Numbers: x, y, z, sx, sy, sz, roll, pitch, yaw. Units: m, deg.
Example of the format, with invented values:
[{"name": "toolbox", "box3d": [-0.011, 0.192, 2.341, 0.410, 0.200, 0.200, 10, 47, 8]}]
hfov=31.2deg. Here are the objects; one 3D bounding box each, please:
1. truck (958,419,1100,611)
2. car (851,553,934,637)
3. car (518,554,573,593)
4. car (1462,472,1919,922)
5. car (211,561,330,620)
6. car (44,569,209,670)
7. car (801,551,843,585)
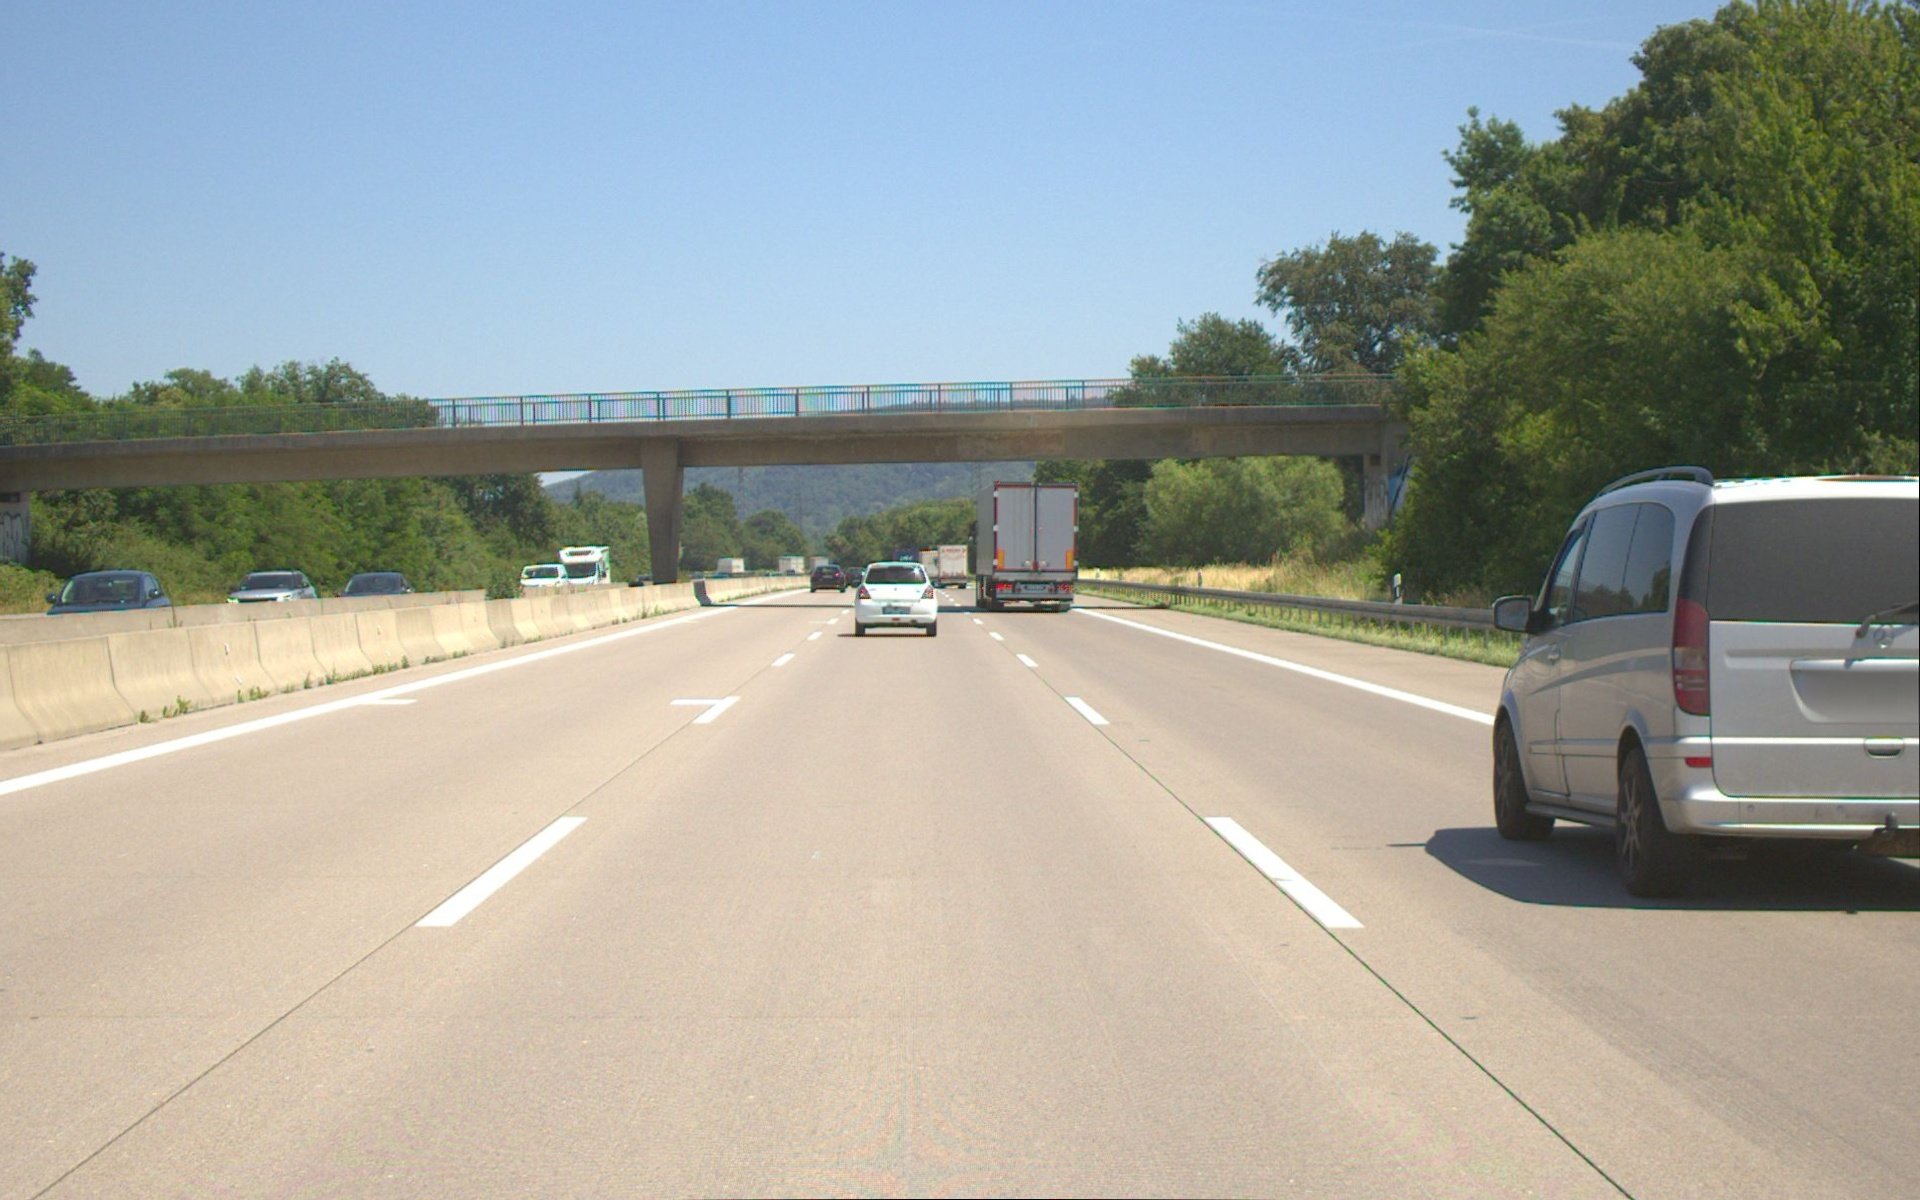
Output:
[{"name": "truck", "box3d": [2.072, -2.688, 112.749, 3.577, 5.767, 18.249, 0, 1, -2]}, {"name": "car", "box3d": [-1.384, -0.120, 70.749, 1.641, 1.656, 3.360, 1, 1, -1]}, {"name": "car", "box3d": [-18.293, -1.185, 152.088, 1.826, 1.712, 5.793, 0, 1, -1]}, {"name": "car", "box3d": [3.848, 0.365, 17.044, 1.879, 1.882, 5.280, 0, 1, -1]}, {"name": "car", "box3d": [-18.550, -0.293, 92.714, 2.065, 1.491, 6.136, -1, 1, -1]}, {"name": "car", "box3d": [-13.718, 0.286, 56.805, 1.688, 1.539, 4.338, -1, 1, 0]}, {"name": "car", "box3d": [-7.169, -1.680, 178.163, 2.022, 1.695, 4.001, 1, 0, -3]}]
